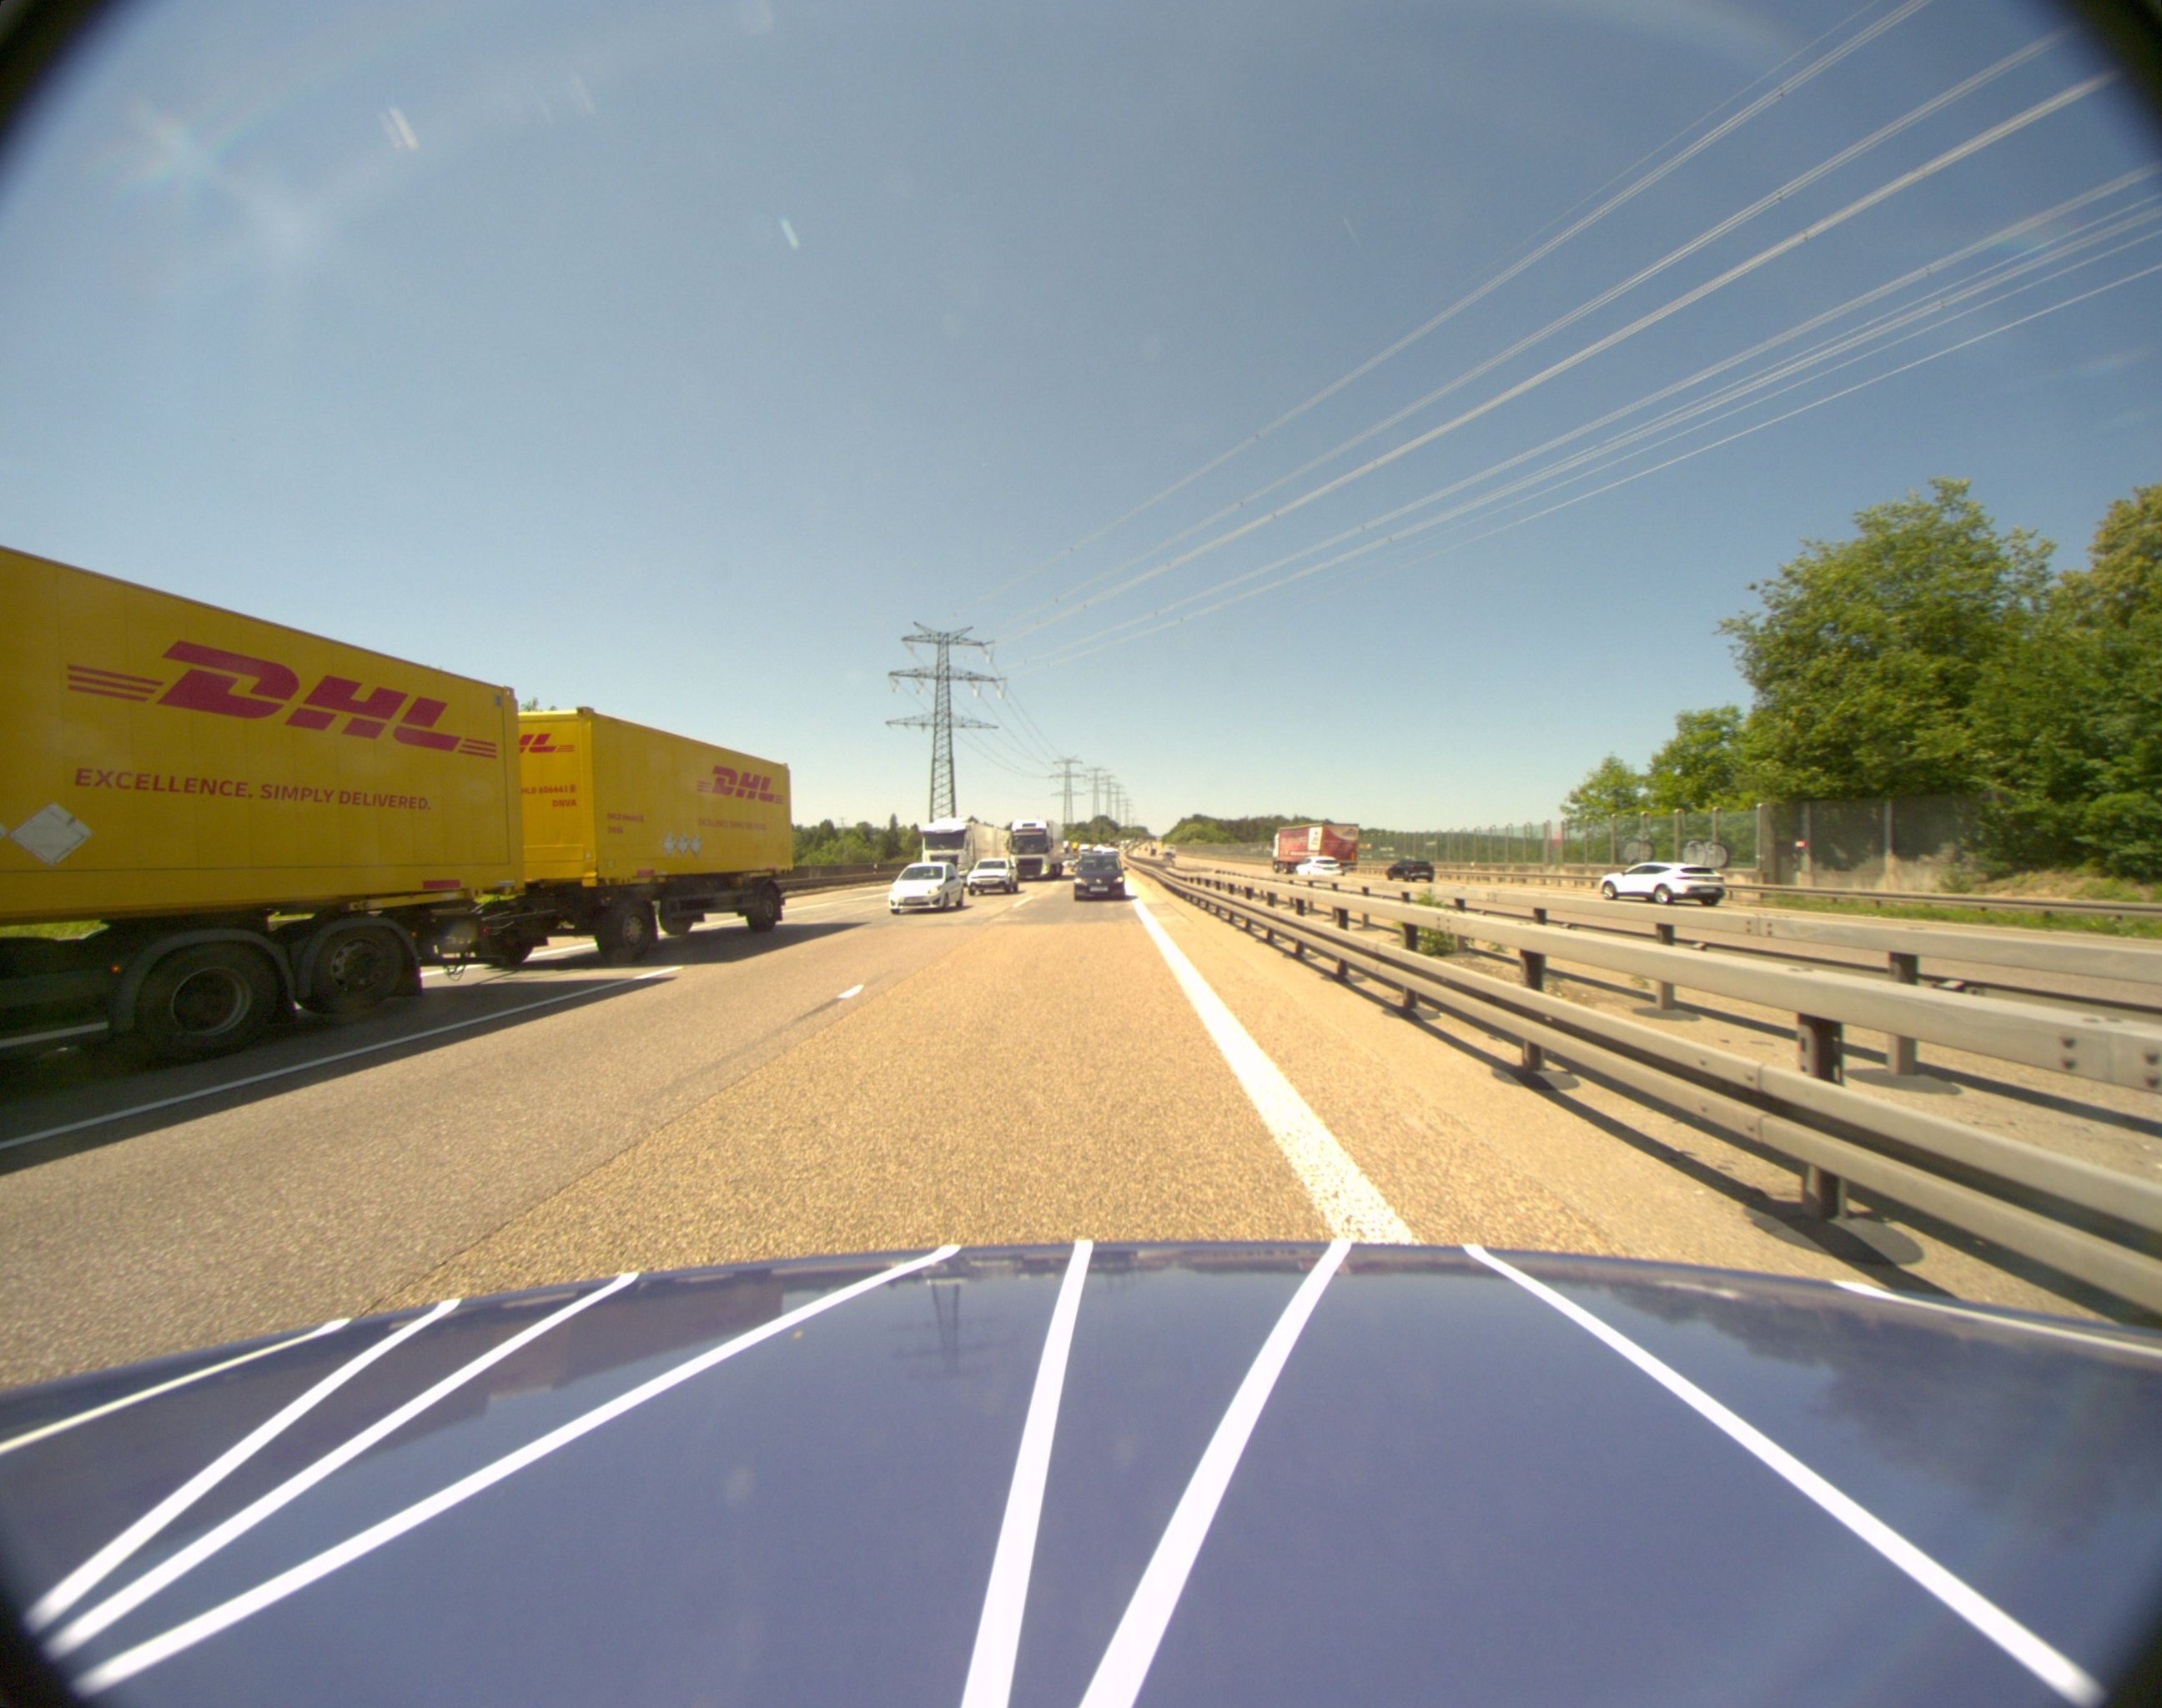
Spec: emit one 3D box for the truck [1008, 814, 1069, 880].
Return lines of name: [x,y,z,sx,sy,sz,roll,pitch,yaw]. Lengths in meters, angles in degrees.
truck: [-2.753,-0.447,54.582,2.717,4.015,14.257,-2,0,3]

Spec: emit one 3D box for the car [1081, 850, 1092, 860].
car: [1.010,0.152,137.170,1.820,1.569,4.000,-2,1,2]

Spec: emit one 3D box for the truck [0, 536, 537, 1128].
truck: [-8.831,-0.119,5.179,2.772,4.085,9.953,-2,0,1]

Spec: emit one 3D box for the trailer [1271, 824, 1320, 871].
trailer: [18.964,-0.566,67.548,2.763,3.953,6.132,0,0,2]

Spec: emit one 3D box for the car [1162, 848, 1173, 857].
car: [19.469,-0.275,170.557,1.998,1.929,4.896,-2,1,2]

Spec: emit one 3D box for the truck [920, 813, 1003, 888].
truck: [-7.011,-0.222,46.505,2.695,3.907,11.298,-2,0,2]

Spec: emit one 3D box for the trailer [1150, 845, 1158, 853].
trailer: [24.751,-1.718,257.367,2.171,2.761,5.376,2,1,2]

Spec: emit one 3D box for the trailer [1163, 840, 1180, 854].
trailer: [27.269,-2.176,228.767,3.998,4.211,14.040,0,1,2]

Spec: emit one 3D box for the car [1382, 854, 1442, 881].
car: [22.057,0.876,50.916,1.998,1.567,5.275,-2,1,4]

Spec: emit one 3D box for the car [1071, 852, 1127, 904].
car: [0.686,0.777,26.499,1.748,1.569,4.000,-2,1,3]

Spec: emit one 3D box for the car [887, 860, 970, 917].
car: [-4.593,0.989,23.383,1.659,1.502,3.825,-1,1,1]

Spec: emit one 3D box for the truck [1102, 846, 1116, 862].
truck: [5.019,0.003,135.393,2.309,2.789,5.110,-2,1,3]

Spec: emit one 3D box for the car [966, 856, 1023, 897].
car: [-3.662,0.923,32.910,1.776,1.521,3.852,-2,1,3]

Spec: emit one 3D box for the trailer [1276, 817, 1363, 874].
trailer: [18.765,-0.580,61.094,2.770,3.953,14.682,0,0,2]

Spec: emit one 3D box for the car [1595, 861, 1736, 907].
car: [21.100,1.041,27.700,1.690,1.447,4.344,0,1,-1]

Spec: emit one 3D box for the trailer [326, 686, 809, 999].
trailer: [-8.577,-0.130,14.882,2.772,4.093,9.377,-2,0,1]

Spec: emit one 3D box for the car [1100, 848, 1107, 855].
car: [6.477,-0.689,218.732,1.998,2.002,4.000,-2,1,2]

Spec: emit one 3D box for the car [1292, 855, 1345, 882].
car: [13.907,0.820,44.709,1.855,1.458,4.304,0,1,1]

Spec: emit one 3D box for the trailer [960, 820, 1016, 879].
trailer: [-6.698,-0.312,56.035,2.752,3.918,7.774,-2,0,2]

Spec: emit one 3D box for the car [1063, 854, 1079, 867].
car: [-1.235,0.805,98.204,1.820,1.569,4.000,-2,1,2]
